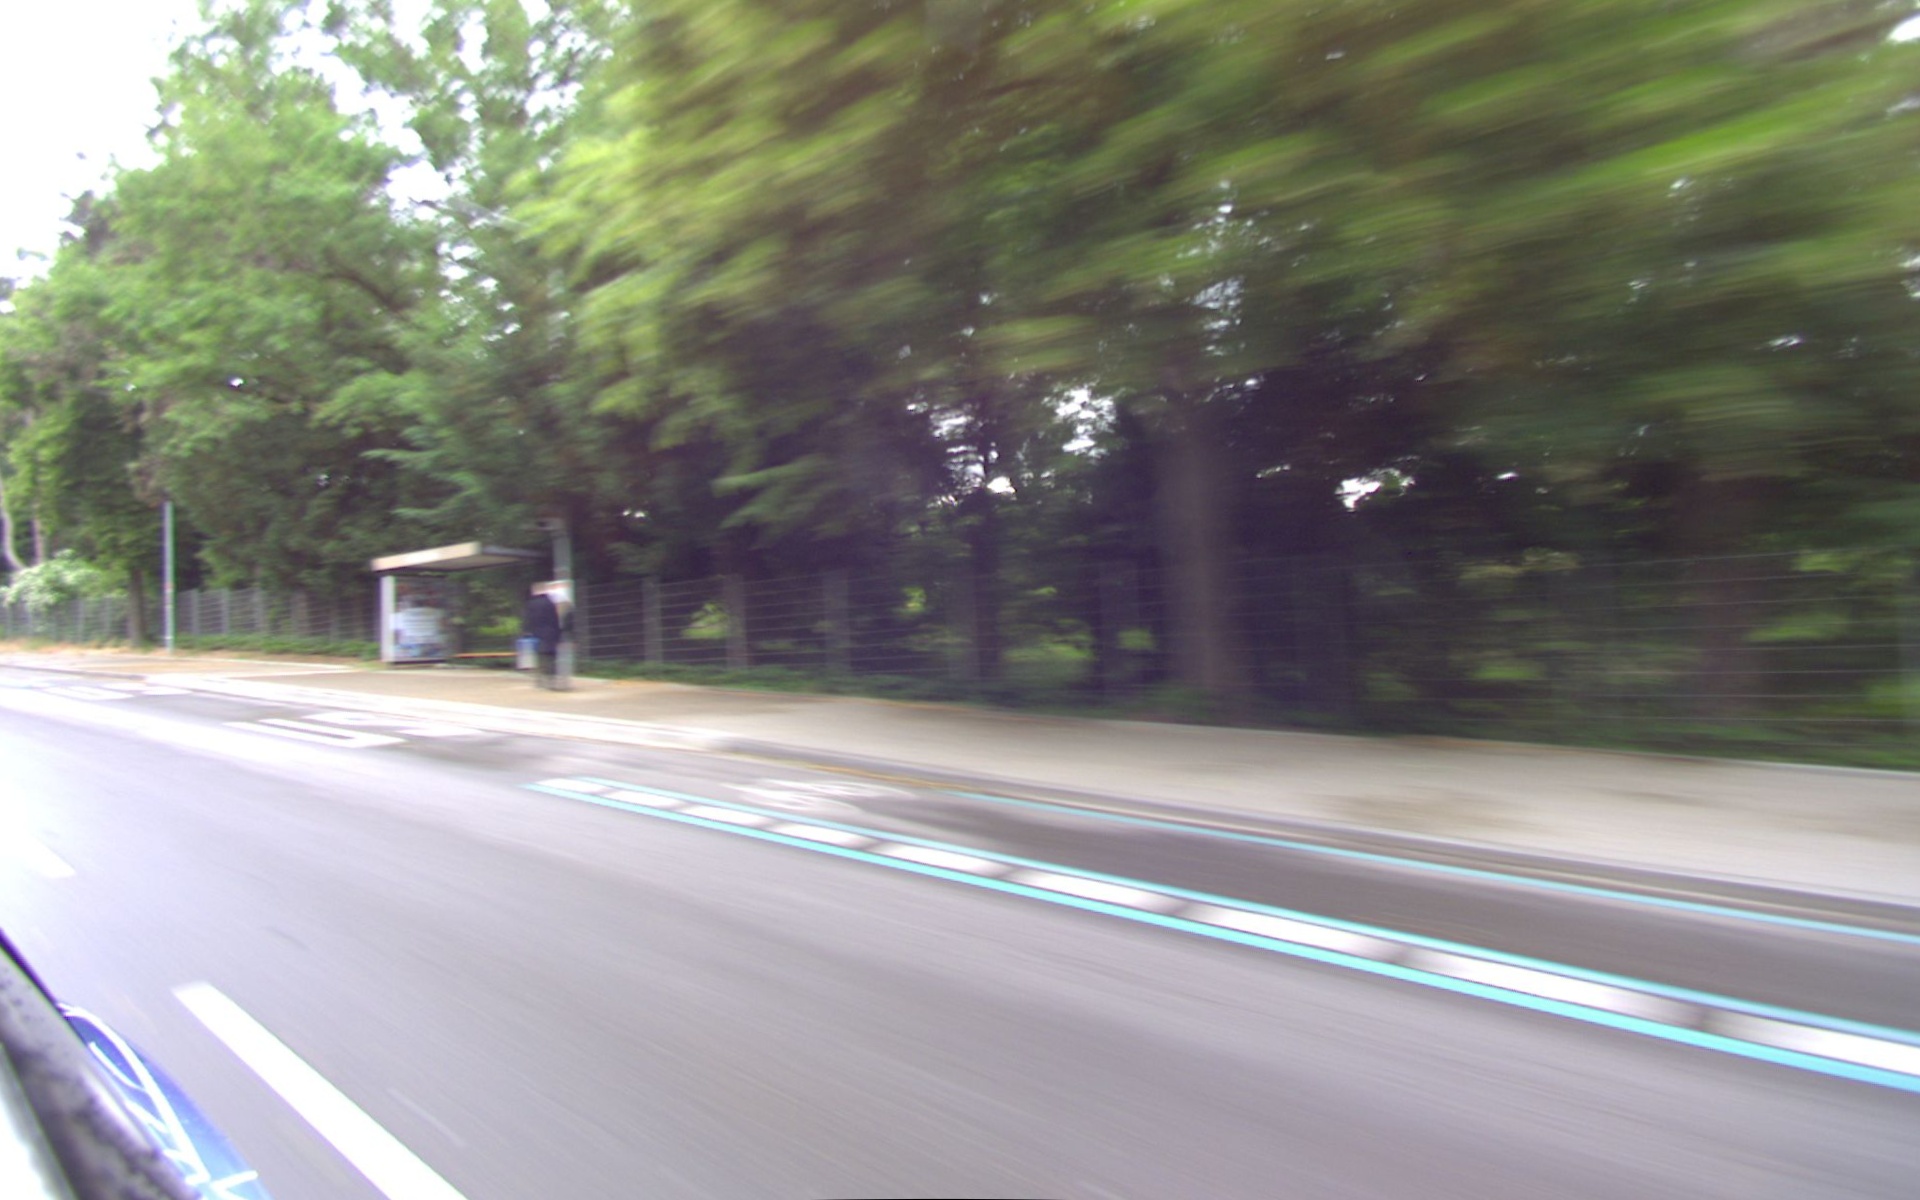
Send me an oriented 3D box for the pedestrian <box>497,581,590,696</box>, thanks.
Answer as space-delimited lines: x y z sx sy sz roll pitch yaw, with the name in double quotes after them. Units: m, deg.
-6.626 0.592 16.111 1.143 1.746 0.879 -1 -1 34 "pedestrian"
